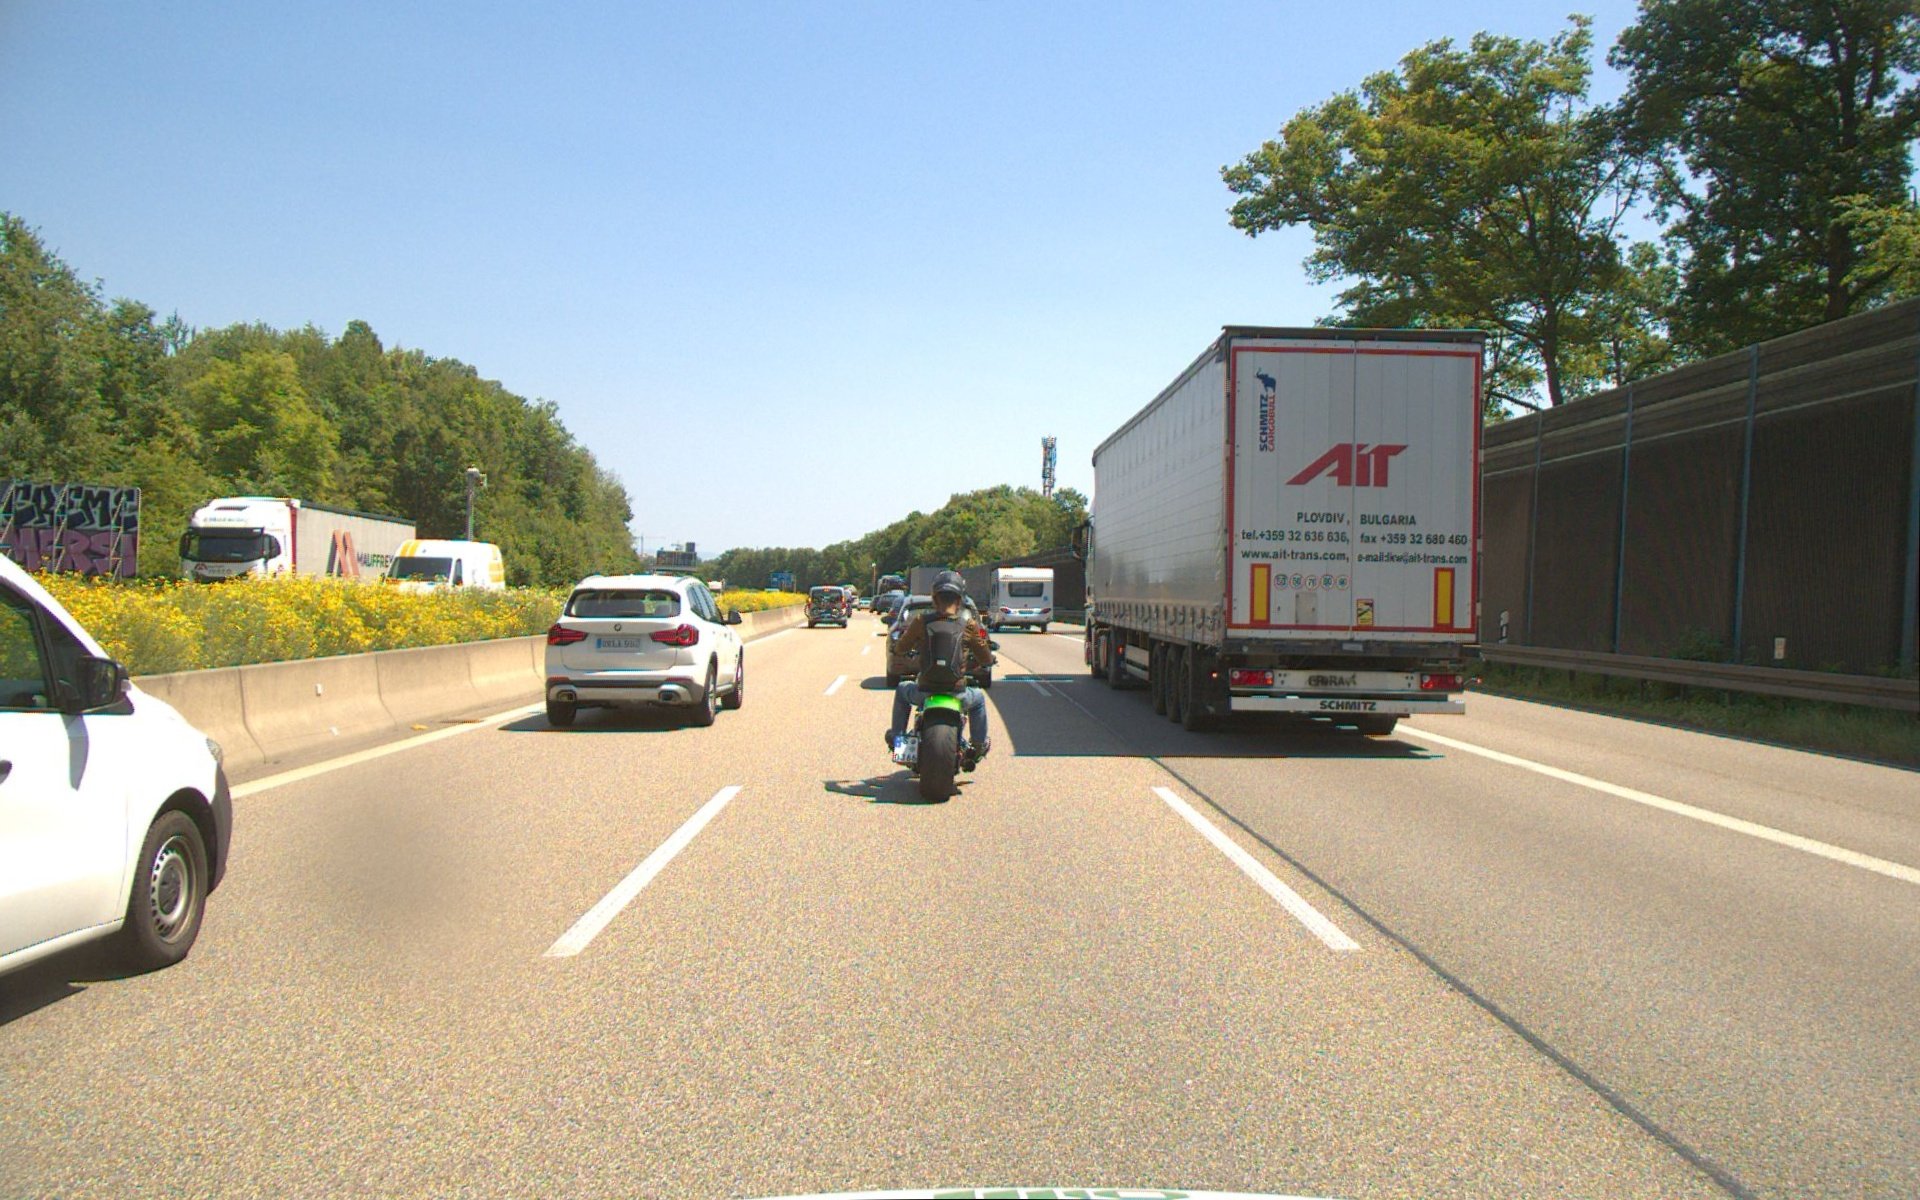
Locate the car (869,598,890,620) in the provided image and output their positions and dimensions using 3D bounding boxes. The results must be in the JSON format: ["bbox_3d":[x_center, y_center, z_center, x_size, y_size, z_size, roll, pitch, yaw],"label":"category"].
[{"bbox_3d":[-7.857,0.870,161.036,1.875,2.049,3.685,1,-1,-7],"label":"car"}]

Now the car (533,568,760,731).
[{"bbox_3d":[-3.643,0.531,20.104,1.826,1.724,4.955,0,0,0],"label":"car"}]

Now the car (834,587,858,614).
[{"bbox_3d":[-8.895,0.059,129.279,1.755,2.049,3.640,0,-1,-2],"label":"car"}]

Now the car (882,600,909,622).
[{"bbox_3d":[-5.100,0.865,130.464,1.954,1.669,3.996,0,-1,-4],"label":"car"}]

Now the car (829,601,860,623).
[{"bbox_3d":[-7.650,0.834,110.108,1.954,1.411,3.997,0,-1,-3],"label":"car"}]

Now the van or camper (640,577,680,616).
[{"bbox_3d":[-21.919,-0.276,121.008,2.043,2.748,6.149,0,0,-3],"label":"van or camper"}]

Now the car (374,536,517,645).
[{"bbox_3d":[-14.969,-0.266,48.609,2.026,2.947,7.460,0,0,-2],"label":"car"}]

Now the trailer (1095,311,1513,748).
[{"bbox_3d":[3.815,-0.678,22.540,2.826,4.109,13.794,0,0,0],"label":"trailer"}]

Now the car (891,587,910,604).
[{"bbox_3d":[-7.033,-0.508,193.934,2.066,1.909,3.996,1,-1,-4],"label":"car"}]

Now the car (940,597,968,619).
[{"bbox_3d":[-0.465,0.621,125.113,1.953,1.601,3.998,0,-1,-3],"label":"car"}]

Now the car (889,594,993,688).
[{"bbox_3d":[-0.321,0.678,27.999,1.628,1.478,3.868,0,-1,-1],"label":"car"}]

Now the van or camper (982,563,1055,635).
[{"bbox_3d":[2.386,0.028,69.307,2.631,2.862,6.800,0,-1,-1],"label":"van or camper"}]

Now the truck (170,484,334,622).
[{"bbox_3d":[-22.916,-1.397,53.909,2.905,4.179,6.084,0,-1,-3],"label":"truck"}]

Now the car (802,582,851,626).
[{"bbox_3d":[-5.996,0.231,74.633,1.860,1.906,4.411,0,-1,-1],"label":"car"}]

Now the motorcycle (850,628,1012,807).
[{"bbox_3d":[-0.161,0.835,12.890,0.944,1.168,2.813,1,0,5],"label":"motorcycle"}]

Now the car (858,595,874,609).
[{"bbox_3d":[-10.501,0.207,184.176,1.796,1.522,3.740,0,-1,-4],"label":"car"}]

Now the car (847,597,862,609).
[{"bbox_3d":[-14.035,0.397,219.871,1.797,1.522,3.739,1,-1,-5],"label":"car"}]

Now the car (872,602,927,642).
[{"bbox_3d":[-2.251,0.839,61.990,1.953,1.455,3.845,0,-1,-2],"label":"car"}]

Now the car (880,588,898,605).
[{"bbox_3d":[-8.592,-0.426,199.433,2.066,1.909,3.996,1,-1,-4],"label":"car"}]

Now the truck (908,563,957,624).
[{"bbox_3d":[-2.459,-0.487,144.387,3.728,5.047,8.942,1,-1,-4],"label":"truck"}]

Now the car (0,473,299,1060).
[{"bbox_3d":[-3.882,0.519,5.302,1.729,1.844,4.672,0,0,-1],"label":"car"}]

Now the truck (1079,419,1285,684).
[{"bbox_3d":[3.775,-0.778,29.523,2.827,4.218,5.985,0,0,0],"label":"truck"}]

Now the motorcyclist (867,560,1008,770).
[{"bbox_3d":[-0.135,0.481,12.834,0.880,1.501,1.873,0,-1,5],"label":"motorcyclist"}]

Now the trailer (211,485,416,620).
[{"bbox_3d":[-23.227,-1.467,60.473,2.868,4.306,13.056,0,-1,-3],"label":"trailer"}]
